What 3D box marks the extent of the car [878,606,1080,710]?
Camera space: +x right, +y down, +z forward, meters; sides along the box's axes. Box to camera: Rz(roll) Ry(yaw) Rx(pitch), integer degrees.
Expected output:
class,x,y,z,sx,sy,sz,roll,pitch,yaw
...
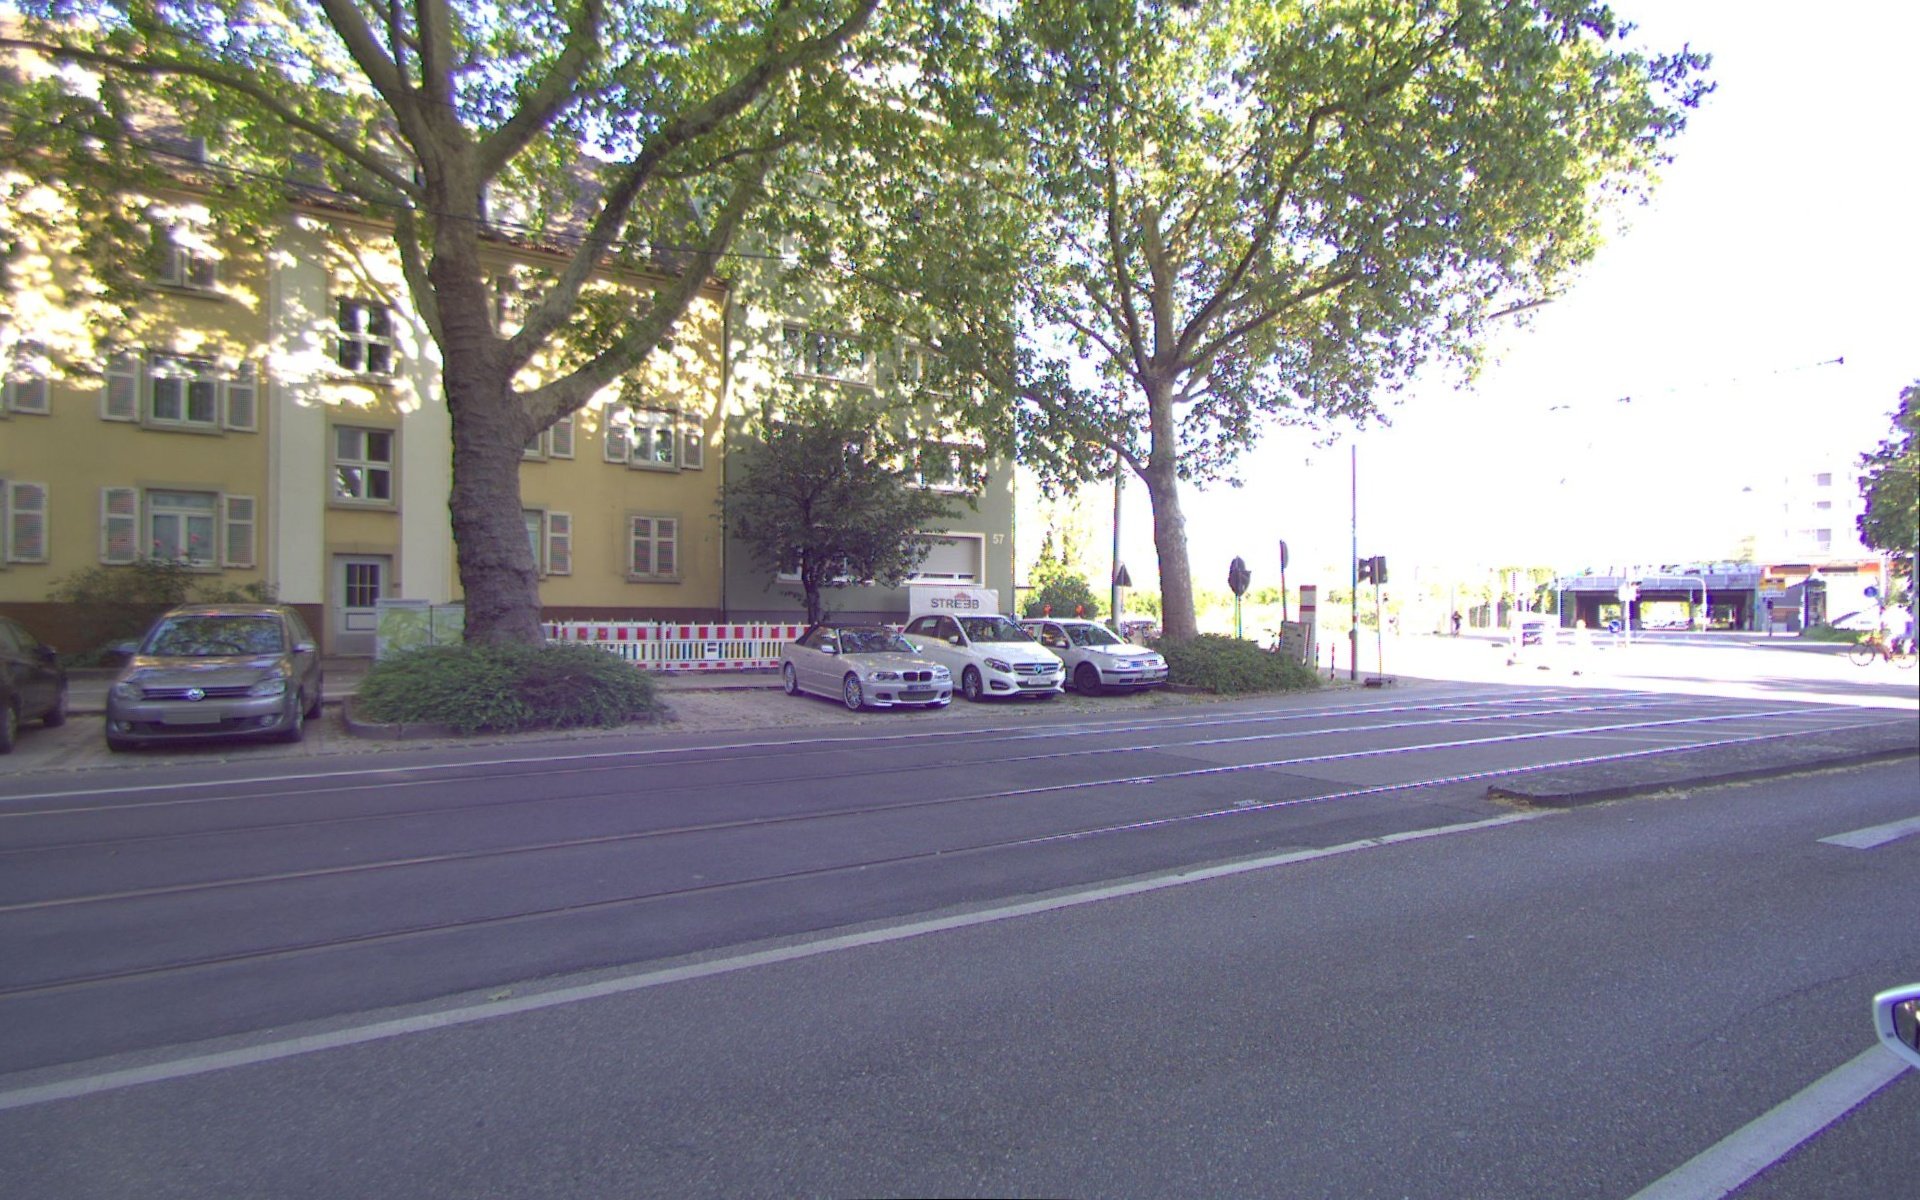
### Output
class,x,y,z,sx,sy,sz,roll,pitch,yaw
car,0.216,1.009,19.473,1.777,1.640,4.587,1,1,-30

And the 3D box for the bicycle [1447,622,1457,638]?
class,x,y,z,sx,sy,sz,roll,pitch,yaw
bicycle,33.305,2.012,67.947,0.572,1.075,2.039,0,-1,28

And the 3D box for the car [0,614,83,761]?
class,x,y,z,sx,sy,sz,roll,pitch,yaw
car,-11.399,0.902,11.291,1.723,1.448,3.545,1,0,-31

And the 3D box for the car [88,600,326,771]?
class,x,y,z,sx,sy,sz,roll,pitch,yaw
car,-9.042,0.880,12.420,1.793,1.627,4.169,1,1,-29

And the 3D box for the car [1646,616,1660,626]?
class,x,y,z,sx,sy,sz,roll,pitch,yaw
car,134.754,4.063,195.276,2.183,1.847,4.134,0,-1,34

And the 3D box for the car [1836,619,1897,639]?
class,x,y,z,sx,sy,sz,roll,pitch,yaw
car,84.374,2.654,93.570,4.125,1.829,1.729,-1,-1,40

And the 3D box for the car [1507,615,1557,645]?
class,x,y,z,sx,sy,sz,roll,pitch,yaw
car,32.427,1.684,56.934,1.803,1.539,3.876,2,0,40

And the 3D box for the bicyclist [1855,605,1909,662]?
class,x,y,z,sx,sy,sz,roll,pitch,yaw
bicyclist,28.677,1.026,31.254,0.861,1.730,0.926,0,-1,-18

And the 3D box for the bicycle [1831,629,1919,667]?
class,x,y,z,sx,sy,sz,roll,pitch,yaw
bicycle,28.683,1.479,31.266,0.788,1.098,2.292,0,-1,-17

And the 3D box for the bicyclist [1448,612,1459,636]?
class,x,y,z,sx,sy,sz,roll,pitch,yaw
bicyclist,33.373,1.621,67.946,0.625,1.584,0.832,0,-1,28

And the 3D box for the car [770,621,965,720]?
class,x,y,z,sx,sy,sz,roll,pitch,yaw
car,-1.734,1.110,17.429,1.708,1.386,4.219,1,0,-31

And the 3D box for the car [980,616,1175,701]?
class,x,y,z,sx,sy,sz,roll,pitch,yaw
car,2.295,1.123,20.818,1.656,1.448,4.490,1,0,-30
